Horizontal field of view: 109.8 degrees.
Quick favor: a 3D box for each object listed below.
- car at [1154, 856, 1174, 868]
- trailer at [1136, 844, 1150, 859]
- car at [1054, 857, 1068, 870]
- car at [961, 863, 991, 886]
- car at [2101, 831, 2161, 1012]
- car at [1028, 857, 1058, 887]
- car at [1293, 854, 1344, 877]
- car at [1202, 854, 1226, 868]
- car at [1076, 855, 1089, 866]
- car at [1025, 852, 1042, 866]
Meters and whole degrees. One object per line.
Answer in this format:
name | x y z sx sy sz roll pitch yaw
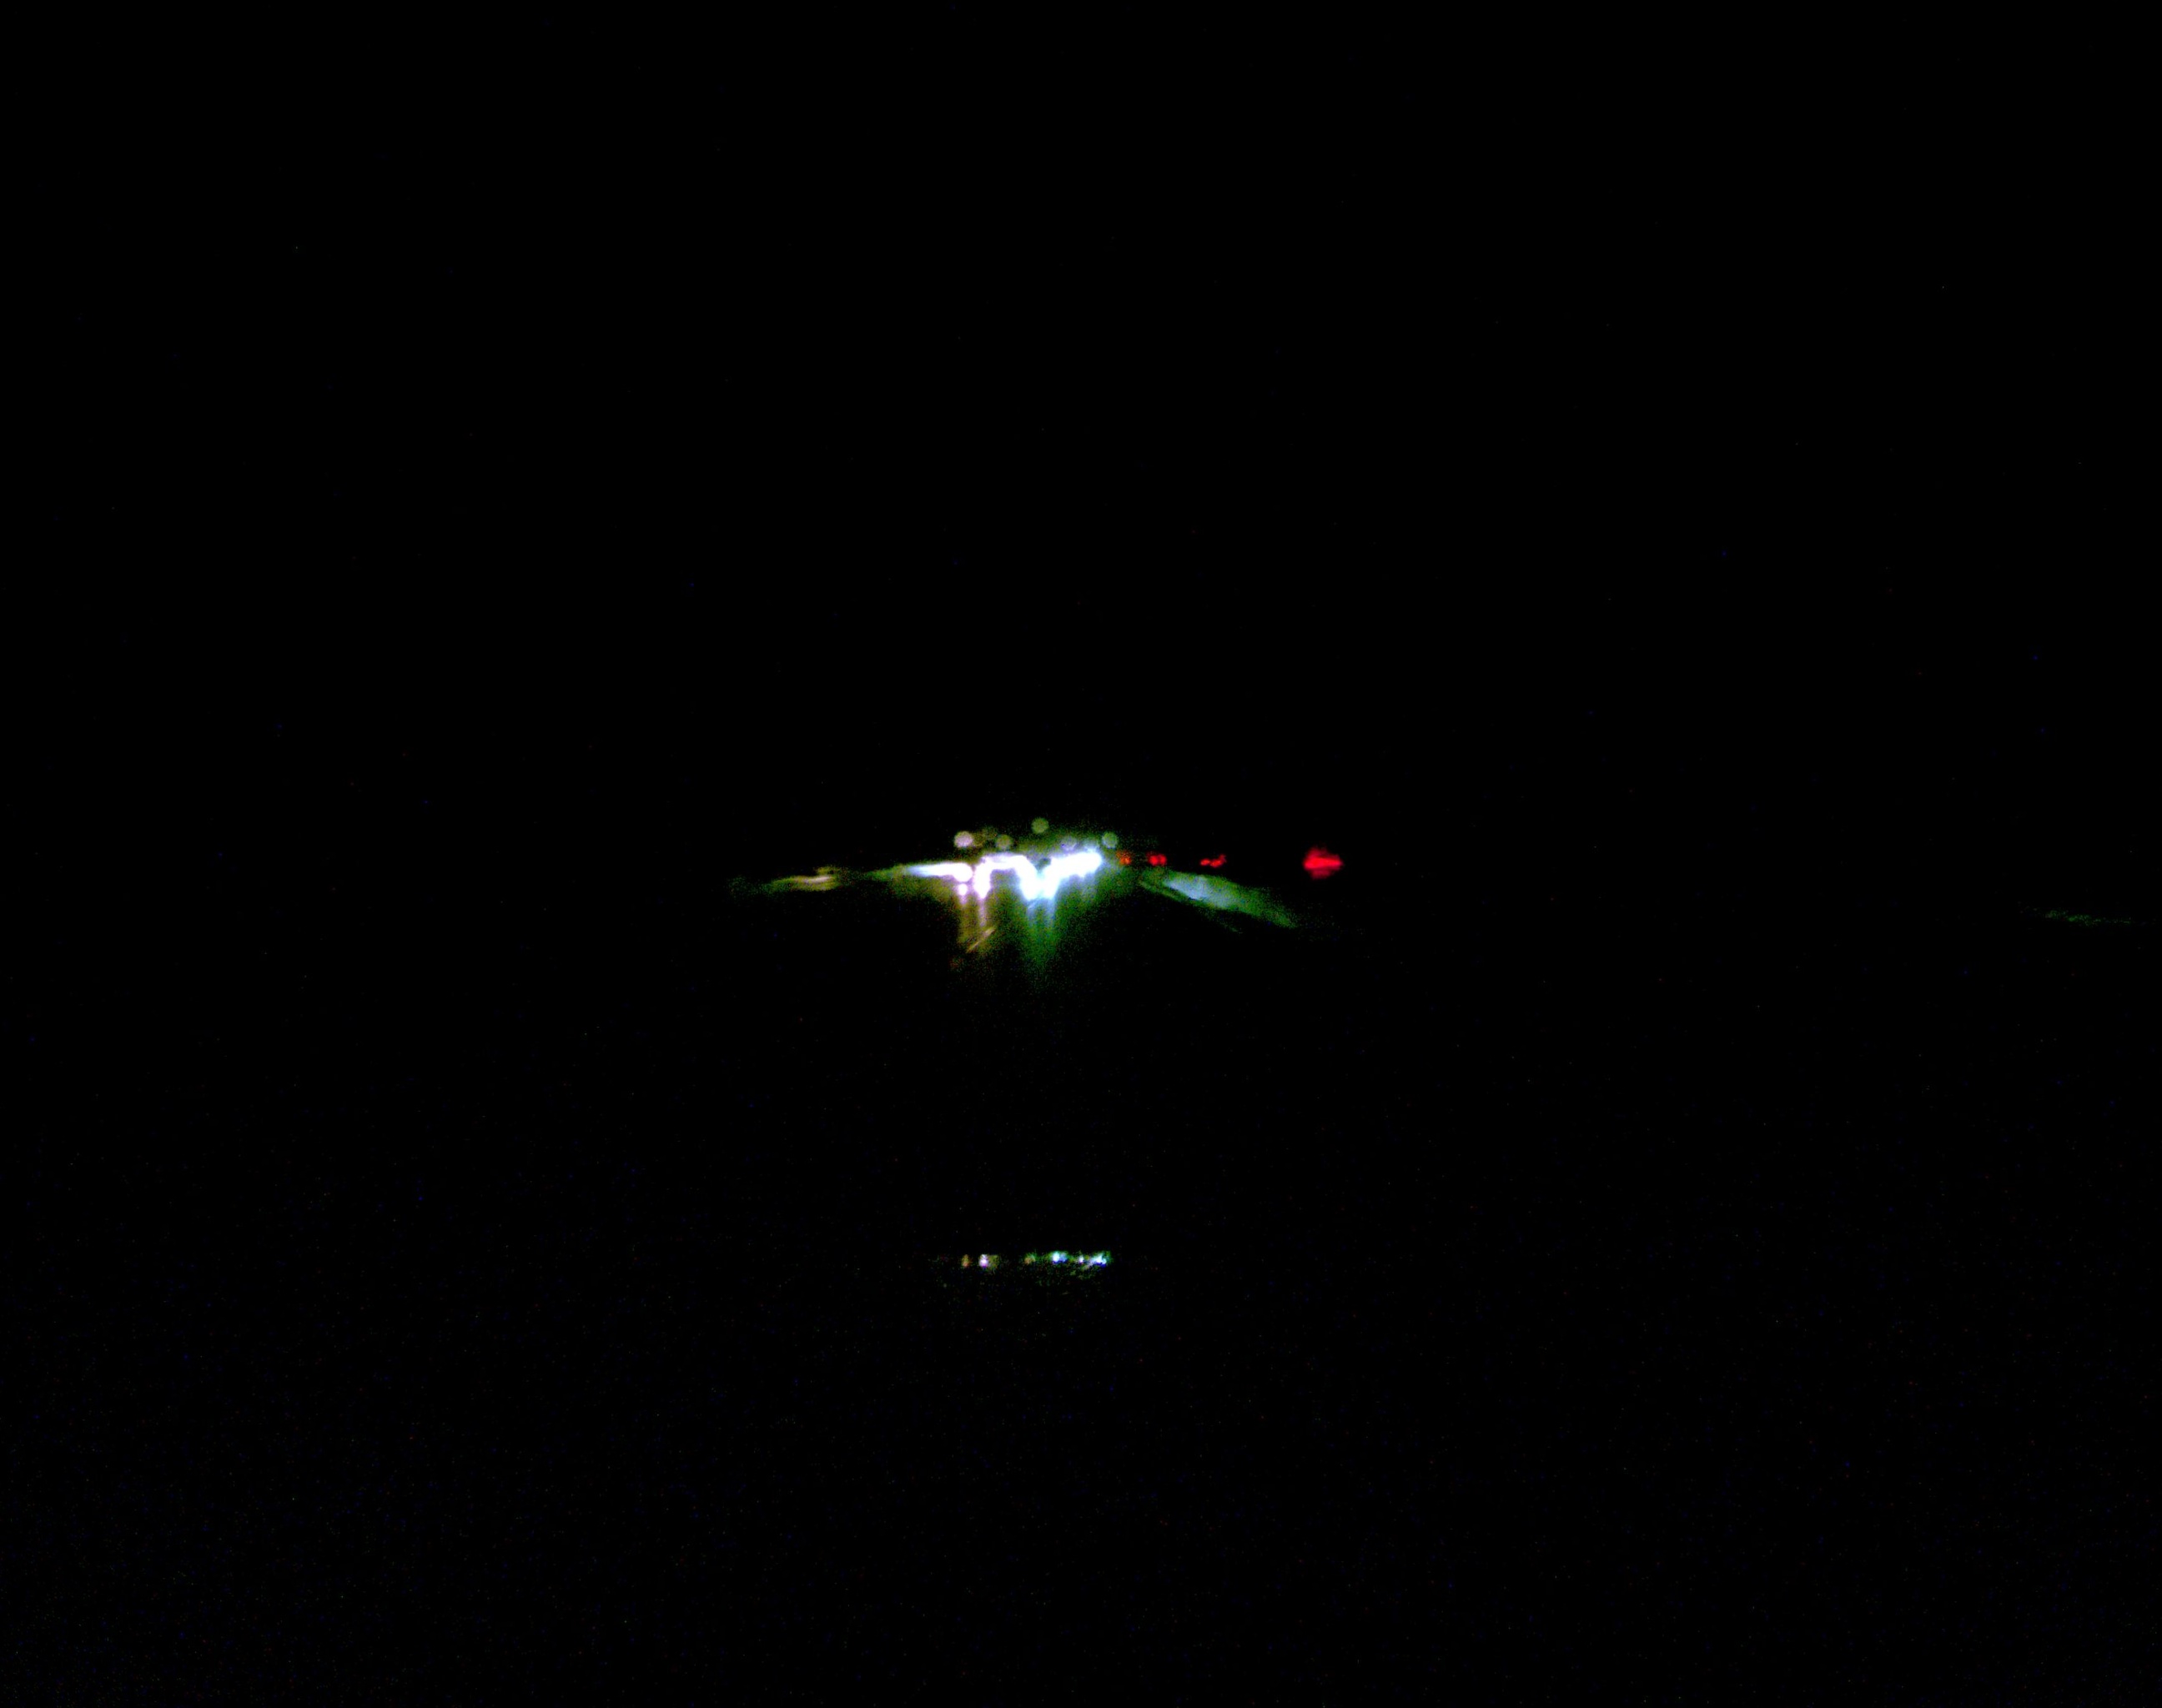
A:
car | 10.339 0.980 94.793 1.998 1.432 4.437 0 0 1
trailer | 19.637 -0.724 241.058 2.980 4.243 14.862 -5 0 1
car | -2.748 1.311 106.922 1.883 1.653 4.000 -2 -1 -1
car | -7.179 1.362 52.338 1.644 1.494 4.012 -1 0 -2
car | 12.930 0.734 6.889 1.998 2.002 4.000 0 0 0
car | -2.666 1.253 53.648 1.999 2.002 3.999 -2 0 -3
car | 16.855 0.781 54.233 1.999 1.550 4.532 -1 0 -3
car | 14.440 0.715 82.804 1.998 1.432 4.437 0 0 1
car | 0.250 1.108 122.783 1.883 1.653 4.000 -2 -1 -1
car | -6.392 0.706 101.974 1.832 1.835 4.699 -3 -1 0
